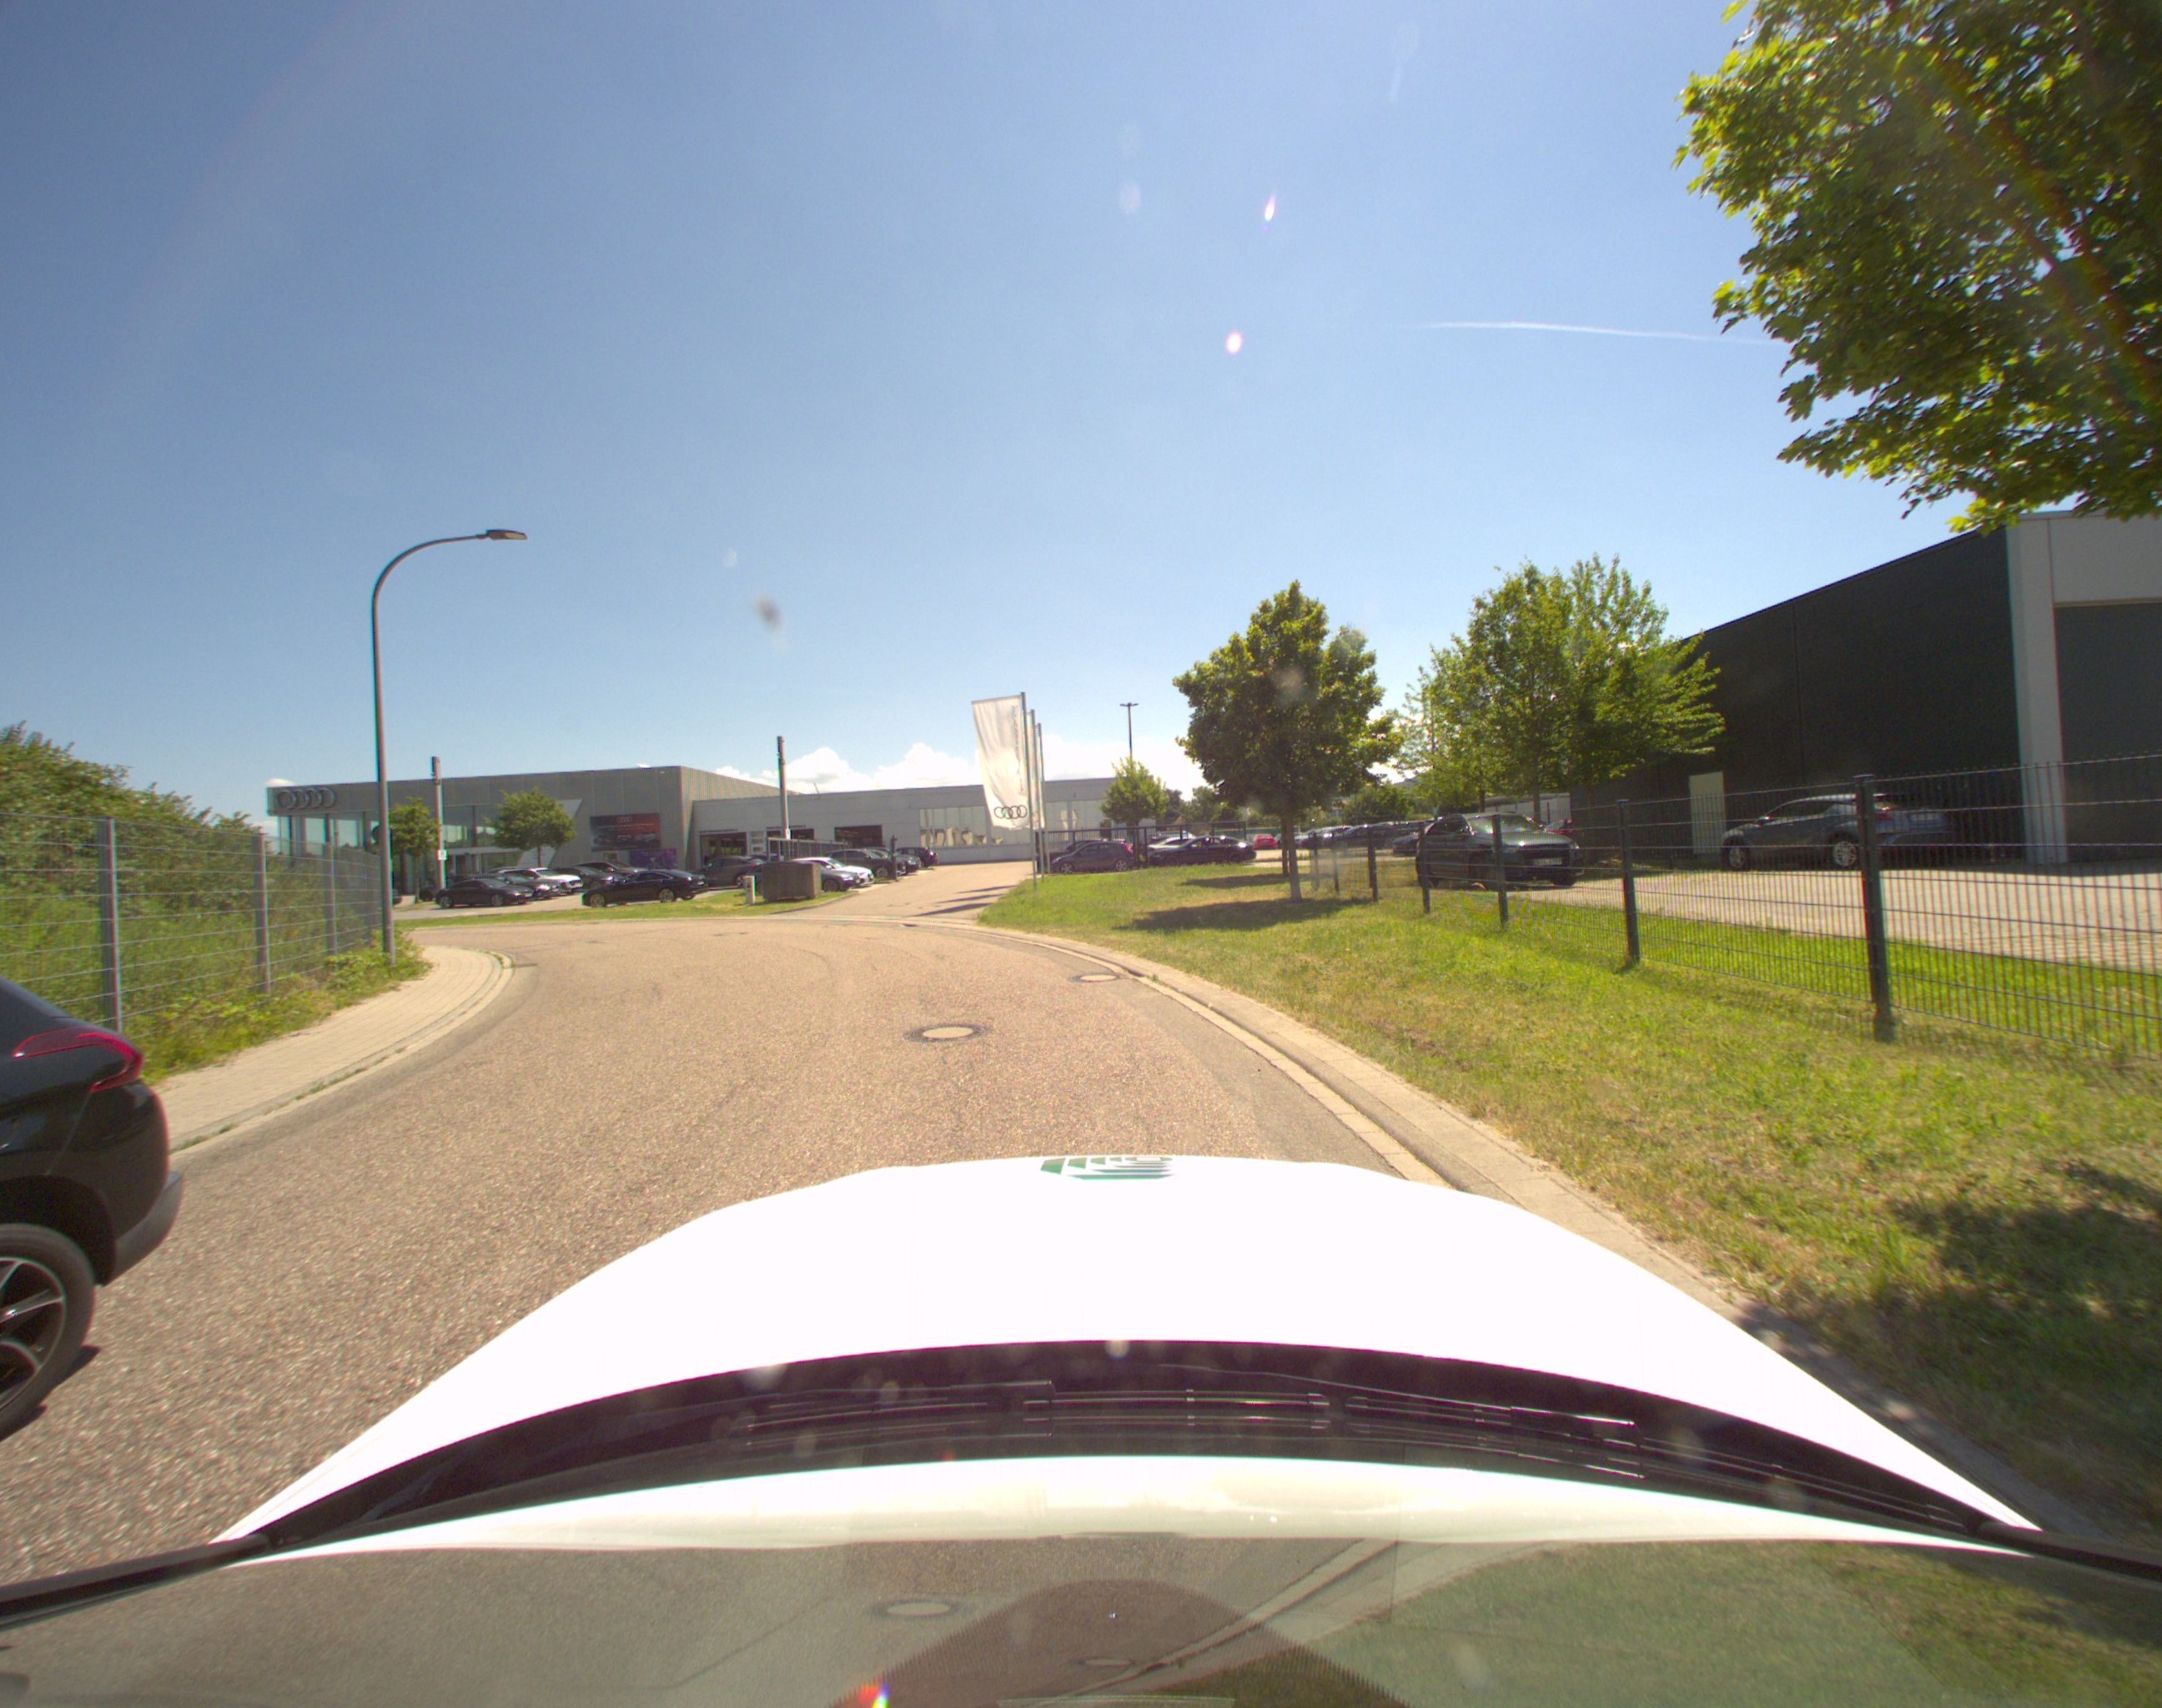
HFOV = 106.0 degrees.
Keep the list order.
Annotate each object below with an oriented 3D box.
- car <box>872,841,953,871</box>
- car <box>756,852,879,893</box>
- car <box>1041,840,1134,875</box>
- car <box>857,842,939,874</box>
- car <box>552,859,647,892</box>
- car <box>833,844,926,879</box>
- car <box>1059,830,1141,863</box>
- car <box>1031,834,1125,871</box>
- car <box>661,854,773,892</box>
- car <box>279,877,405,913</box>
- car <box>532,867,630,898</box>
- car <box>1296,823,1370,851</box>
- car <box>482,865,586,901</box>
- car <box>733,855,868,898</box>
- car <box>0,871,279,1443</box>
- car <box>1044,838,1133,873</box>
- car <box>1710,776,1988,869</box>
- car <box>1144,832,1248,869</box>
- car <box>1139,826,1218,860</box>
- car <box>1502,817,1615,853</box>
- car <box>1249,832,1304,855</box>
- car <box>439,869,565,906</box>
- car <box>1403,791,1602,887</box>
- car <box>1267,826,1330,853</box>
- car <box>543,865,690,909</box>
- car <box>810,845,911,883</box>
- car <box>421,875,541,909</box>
[{"bbox_3d":[-10.619,0.120,51.567,4.597,1.630,1.967,-3,1,-1],"label":"car"},{"bbox_3d":[-12.000,0.832,37.278,4.914,1.528,1.825,-3,1,-1],"label":"car"},{"bbox_3d":[0.342,0.146,37.689,4.116,1.349,1.781,-3,1,2],"label":"car"},{"bbox_3d":[-10.821,0.213,48.508,4.350,1.630,1.967,-3,1,-1],"label":"car"},{"bbox_3d":[-30.212,1.354,51.200,4.699,1.739,1.967,-3,1,-1],"label":"car"},{"bbox_3d":[-11.088,0.369,45.071,4.597,1.630,1.967,-3,1,-1],"label":"car"},{"bbox_3d":[1.078,-0.444,47.676,4.597,1.630,1.967,-4,0,-1],"label":"car"},{"bbox_3d":[-0.127,-0.095,41.457,4.597,1.630,1.967,-3,1,-1],"label":"car"},{"bbox_3d":[-18.466,0.927,41.456,4.756,1.643,1.829,-3,0,-1],"label":"car"},{"bbox_3d":[-36.085,1.995,39.859,4.201,1.366,1.967,-3,3,-1],"label":"car"},{"bbox_3d":[-29.006,1.631,47.356,4.345,1.476,1.967,-3,1,-1],"label":"car"},{"bbox_3d":[15.966,-1.065,51.804,3.977,1.556,2.111,-3,0,-3],"label":"car"},{"bbox_3d":[-30.046,1.573,44.827,4.262,1.613,1.967,-3,1,-1],"label":"car"},{"bbox_3d":[-11.756,0.924,34.409,4.914,1.467,1.967,-3,1,-1],"label":"car"},{"bbox_3d":[-3.853,0.888,0.928,1.648,1.555,4.133,-4,0,1],"label":"car"},{"bbox_3d":[0.390,0.054,44.080,4.597,1.630,1.967,-3,1,-1],"label":"car"},{"bbox_3d":[15.610,-0.541,16.930,1.769,1.567,4.171,-3,-2,0],"label":"car"},{"bbox_3d":[5.215,-0.159,37.337,4.540,1.401,1.782,-3,1,2],"label":"car"},{"bbox_3d":[5.512,-0.598,46.441,4.187,1.630,1.795,-4,0,-1],"label":"car"},{"bbox_3d":[21.975,-0.881,37.577,4.142,1.357,1.781,-3,1,2],"label":"car"},{"bbox_3d":[16.313,-0.882,68.152,3.980,1.688,1.997,-3,0,-5],"label":"car"},{"bbox_3d":[-29.875,1.706,42.155,4.974,1.553,1.967,-3,1,-1],"label":"car"},{"bbox_3d":[8.335,-0.214,16.606,1.769,1.601,4.282,-3,-2,0],"label":"car"},{"bbox_3d":[15.847,-1.070,59.524,3.980,1.688,1.997,-3,0,-5],"label":"car"},{"bbox_3d":[-19.457,1.354,34.260,4.992,1.454,1.885,-3,2,-1],"label":"car"},{"bbox_3d":[-11.333,0.491,42.112,4.597,1.630,1.967,-3,1,-1],"label":"car"},{"bbox_3d":[-29.086,1.840,39.579,4.285,1.374,1.967,-2,1,-1],"label":"car"}]
